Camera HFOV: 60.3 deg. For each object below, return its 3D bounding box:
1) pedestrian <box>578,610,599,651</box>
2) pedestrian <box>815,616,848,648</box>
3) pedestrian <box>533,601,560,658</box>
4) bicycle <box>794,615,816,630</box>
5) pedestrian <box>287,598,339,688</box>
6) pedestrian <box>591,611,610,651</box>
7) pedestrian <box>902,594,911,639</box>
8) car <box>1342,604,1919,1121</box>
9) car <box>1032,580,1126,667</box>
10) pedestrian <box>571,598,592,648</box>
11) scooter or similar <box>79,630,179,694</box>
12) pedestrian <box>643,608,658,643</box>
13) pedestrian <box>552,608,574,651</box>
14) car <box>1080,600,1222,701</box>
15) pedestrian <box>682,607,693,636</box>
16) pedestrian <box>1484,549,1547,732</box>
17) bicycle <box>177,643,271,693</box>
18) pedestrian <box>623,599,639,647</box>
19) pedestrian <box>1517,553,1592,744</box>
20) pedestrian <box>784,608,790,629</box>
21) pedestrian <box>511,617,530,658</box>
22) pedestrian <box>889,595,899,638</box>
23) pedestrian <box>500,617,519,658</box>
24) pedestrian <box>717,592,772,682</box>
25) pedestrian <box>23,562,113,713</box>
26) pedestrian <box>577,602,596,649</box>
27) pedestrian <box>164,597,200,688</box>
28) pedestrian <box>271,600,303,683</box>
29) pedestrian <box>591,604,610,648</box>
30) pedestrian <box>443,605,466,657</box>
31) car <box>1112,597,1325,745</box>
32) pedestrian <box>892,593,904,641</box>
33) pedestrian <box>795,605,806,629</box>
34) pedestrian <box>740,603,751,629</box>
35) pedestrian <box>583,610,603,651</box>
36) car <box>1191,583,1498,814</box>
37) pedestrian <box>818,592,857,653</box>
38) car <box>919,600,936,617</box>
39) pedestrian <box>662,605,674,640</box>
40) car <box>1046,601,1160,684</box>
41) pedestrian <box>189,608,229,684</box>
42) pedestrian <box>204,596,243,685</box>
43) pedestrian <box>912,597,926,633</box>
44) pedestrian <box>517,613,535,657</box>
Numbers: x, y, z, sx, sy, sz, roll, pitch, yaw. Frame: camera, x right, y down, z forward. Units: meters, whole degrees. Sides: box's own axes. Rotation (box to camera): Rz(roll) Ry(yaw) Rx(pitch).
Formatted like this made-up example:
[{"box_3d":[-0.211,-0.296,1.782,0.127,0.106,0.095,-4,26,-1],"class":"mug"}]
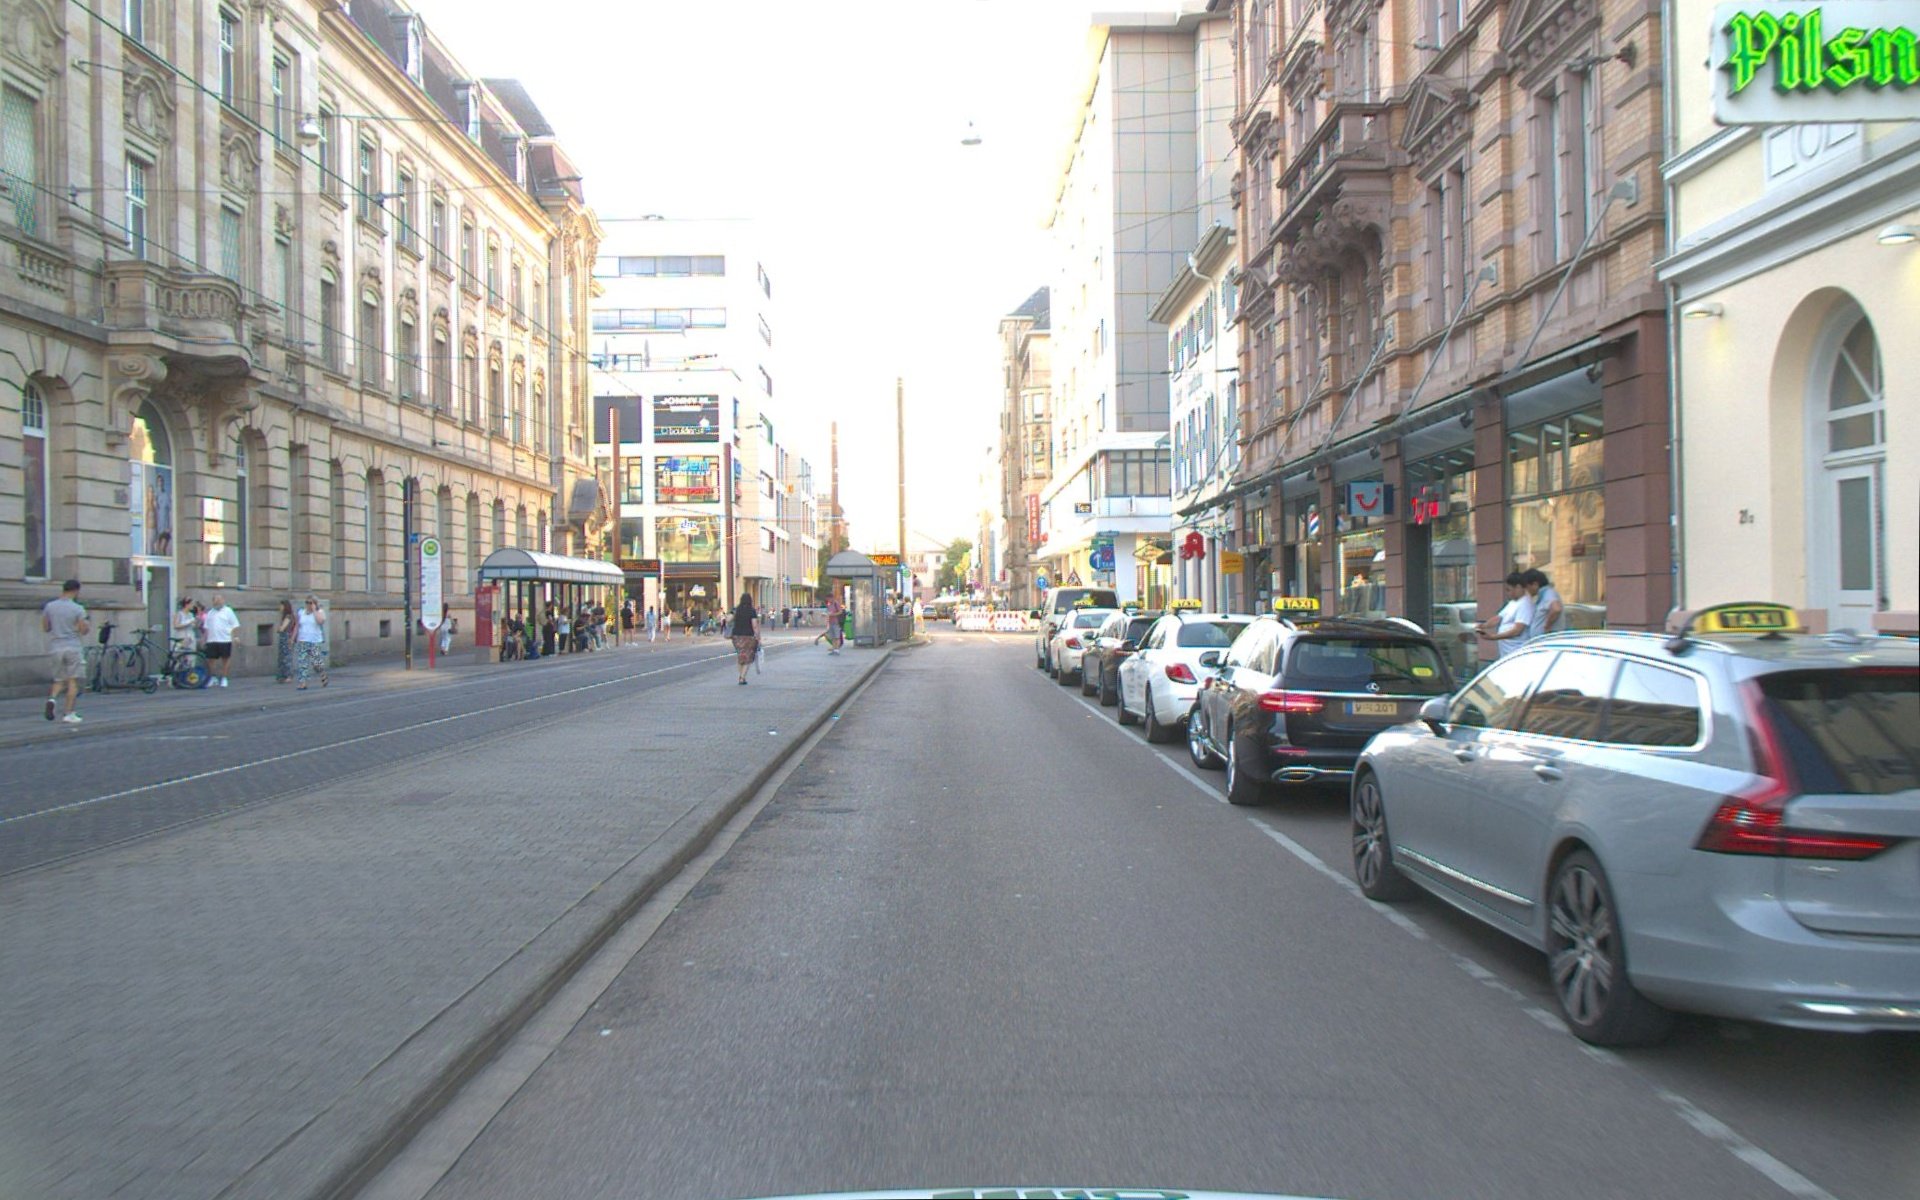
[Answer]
[{"box_3d":[-12.308,1.021,54.784,0.507,1.350,0.638,-1,-1,3],"class":"pedestrian"},{"box_3d":[-3.938,0.971,50.599,0.781,0.955,0.693,-1,0,22],"class":"pedestrian"},{"box_3d":[-12.425,0.892,49.701,0.507,1.679,0.638,-1,-1,21],"class":"pedestrian"},{"box_3d":[-11.988,1.755,128.035,1.661,1.141,0.451,0,-1,1],"class":"bicycle"},{"box_3d":[-11.551,0.761,29.540,0.646,1.589,0.679,-1,-1,-1],"class":"pedestrian"},{"box_3d":[-12.263,1.043,56.423,0.507,1.350,0.638,-1,-1,3],"class":"pedestrian"},{"box_3d":[-2.189,0.689,67.959,0.335,1.827,0.544,0,-1,-3],"class":"pedestrian"},{"box_3d":[3.132,0.781,7.186,1.769,1.501,4.692,0,0,-1],"class":"car"},{"box_3d":[2.836,0.577,40.329,1.838,1.957,4.698,1,-1,-1],"class":"car"},{"box_3d":[-13.135,0.803,57.391,0.664,1.721,0.635,0,-1,-17],"class":"pedestrian"},{"box_3d":[-14.346,1.071,28.563,1.514,1.087,0.451,0,-1,4],"class":"scooter or similar"},{"box_3d":[-13.918,1.156,74.390,0.512,1.552,0.497,0,-1,-26],"class":"pedestrian"},{"box_3d":[-12.514,0.923,52.176,0.507,1.350,0.638,-1,-1,3],"class":"pedestrian"},{"box_3d":[3.047,0.791,27.240,1.691,1.503,4.819,0,-1,-1],"class":"car"},{"box_3d":[-15.499,1.222,94.061,0.558,1.621,0.448,-1,-1,-3],"class":"pedestrian"},{"box_3d":[5.571,0.403,16.614,0.365,1.799,0.455,-3,0,-5],"class":"pedestrian"},{"box_3d":[-13.493,1.243,30.330,1.542,0.889,0.451,0,-1,4],"class":"bicycle"},{"box_3d":[-12.447,0.853,62.579,0.548,1.807,0.468,0,-1,-5],"class":"pedestrian"},{"box_3d":[5.779,0.464,16.091,0.365,1.799,0.663,-3,0,-5],"class":"pedestrian"},{"box_3d":[-12.426,1.320,119.018,0.382,1.541,0.505,-1,-1,-3],"class":"pedestrian"},{"box_3d":[-12.184,1.040,45.854,0.357,1.122,0.430,0,-1,5],"class":"pedestrian"},{"box_3d":[-2.595,0.650,65.130,0.378,1.671,0.549,0,-1,-3],"class":"pedestrian"},{"box_3d":[-12.329,1.032,45.265,0.357,1.122,0.430,0,-1,5],"class":"pedestrian"},{"box_3d":[-3.728,0.632,28.634,0.829,1.527,0.901,-1,-1,-1],"class":"pedestrian"},{"box_3d":[-11.147,0.463,20.687,0.678,1.844,0.814,-1,-1,-1],"class":"pedestrian"},{"box_3d":[-13.252,0.907,58.700,0.507,1.674,0.638,-1,-1,3],"class":"pedestrian"},{"box_3d":[-14.455,0.791,30.737,0.328,1.671,0.606,0,-1,6],"class":"pedestrian"},{"box_3d":[-13.406,0.818,32.961,0.431,1.633,0.571,0,-1,-6],"class":"pedestrian"},{"box_3d":[-12.923,0.936,59.472,0.507,1.597,0.638,-1,-1,3],"class":"pedestrian"},{"box_3d":[-15.704,0.949,51.431,0.648,1.589,0.677,0,-1,-15],"class":"pedestrian"},{"box_3d":[2.978,0.784,20.020,1.697,1.537,4.863,1,-1,-1],"class":"car"},{"box_3d":[-2.326,0.624,62.125,0.404,1.798,0.594,0,-1,-3],"class":"pedestrian"},{"box_3d":[-11.529,1.237,119.486,0.766,1.782,0.599,0,-1,-4],"class":"pedestrian"},{"box_3d":[-15.804,1.189,122.118,0.560,1.887,0.817,0,-1,11],"class":"pedestrian"},{"box_3d":[-12.321,1.031,55.551,0.507,1.350,0.638,-1,-1,3],"class":"pedestrian"},{"box_3d":[3.066,0.735,14.078,1.697,1.618,4.442,1,-1,2],"class":"car"},{"box_3d":[-3.373,0.615,45.563,0.675,1.666,0.857,-1,-1,39],"class":"pedestrian"},{"box_3d":[-3.826,1.053,193.710,1.953,1.937,3.998,0,-1,-2],"class":"car"},{"box_3d":[-13.174,1.016,74.617,0.517,1.552,0.500,0,-1,-15],"class":"pedestrian"},{"box_3d":[2.824,0.810,33.595,1.769,1.509,4.777,1,0,-1],"class":"car"},{"box_3d":[-14.625,0.884,32.208,0.432,1.465,0.570,0,-1,35],"class":"pedestrian"},{"box_3d":[-13.856,0.756,31.132,0.466,1.671,0.562,0,-1,-1],"class":"pedestrian"},{"box_3d":[-2.146,0.772,86.331,0.684,1.847,0.852,0,-1,3],"class":"pedestrian"},{"box_3d":[-12.240,0.981,46.699,0.357,1.221,0.430,0,-1,5],"class":"pedestrian"}]
